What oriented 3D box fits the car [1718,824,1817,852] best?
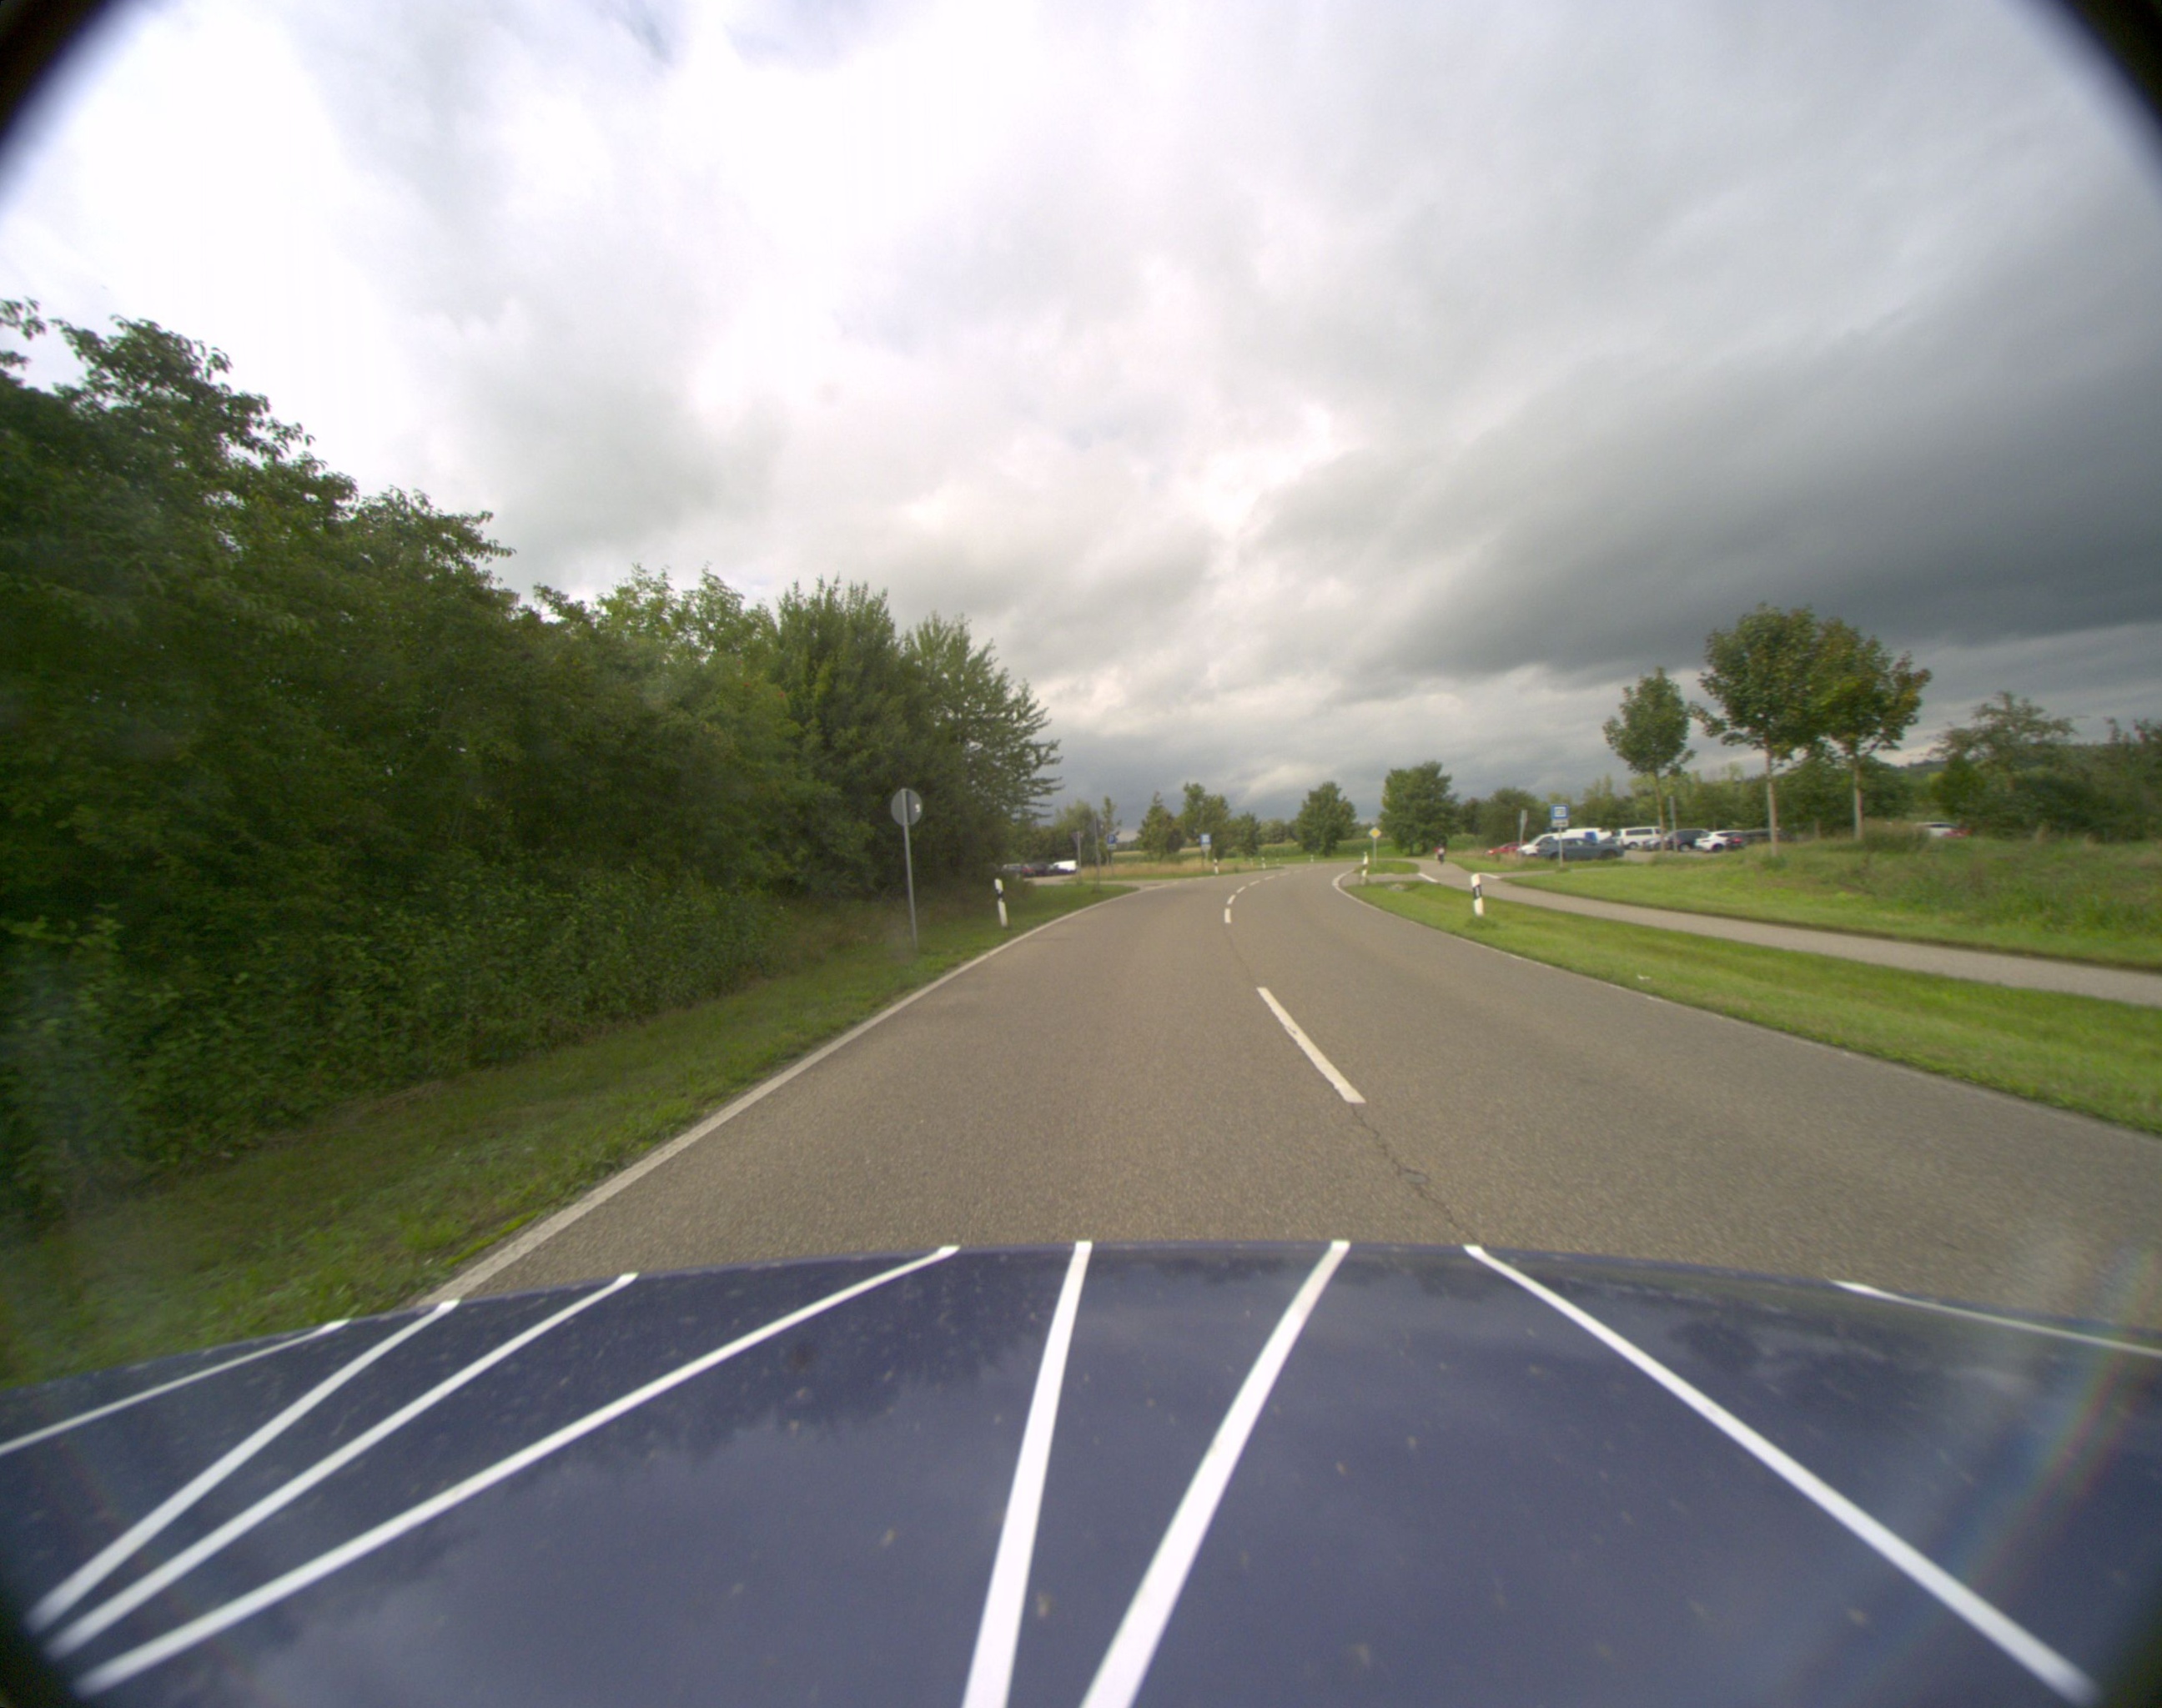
[{"bbox_3d":[41.643,-0.966,46.204,3.993,1.379,1.844,-4,0,16],"label":"car"}]

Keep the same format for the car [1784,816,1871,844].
[{"bbox_3d":[48.615,-1.552,49.526,1.780,1.517,3.785,-3,0,-36],"label":"car"}]

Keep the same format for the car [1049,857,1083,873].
[{"bbox_3d":[-1.965,1.393,99.522,3.994,1.849,2.001,-3,0,10],"label":"car"}]

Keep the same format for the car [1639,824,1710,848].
[{"bbox_3d":[46.996,-1.391,60.278,3.991,1.542,1.969,-5,-1,23],"label":"car"}]

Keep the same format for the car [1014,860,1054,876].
[{"bbox_3d":[-5.248,1.571,85.250,3.995,1.488,2.001,-3,0,8],"label":"car"}]

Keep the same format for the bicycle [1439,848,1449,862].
[{"bbox_3d":[28.490,0.065,59.708,0.636,1.026,2.194,-2,0,25],"label":"bicycle"}]

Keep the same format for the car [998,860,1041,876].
[{"bbox_3d":[-6.387,1.484,79.491,4.004,1.496,2.053,-3,0,12],"label":"car"}]

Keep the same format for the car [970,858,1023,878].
[{"bbox_3d":[-7.794,1.289,70.097,4.487,1.572,2.001,-3,0,6],"label":"car"}]

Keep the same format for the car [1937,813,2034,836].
[{"bbox_3d":[63.219,-2.055,53.208,3.990,1.379,1.741,-2,0,25],"label":"car"}]

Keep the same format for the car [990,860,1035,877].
[{"bbox_3d":[-6.847,1.439,75.996,4.161,1.406,2.001,-3,0,6],"label":"car"}]

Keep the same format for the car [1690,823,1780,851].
[{"bbox_3d":[43.579,-1.116,50.718,3.993,1.543,1.968,-4,0,16],"label":"car"}]

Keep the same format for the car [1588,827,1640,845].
[{"bbox_3d":[55.165,-1.841,78.738,3.991,1.515,1.796,-3,0,21],"label":"car"}]

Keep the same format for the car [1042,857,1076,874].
[{"bbox_3d":[-2.735,1.449,96.365,3.994,1.849,1.746,-3,0,10],"label":"car"}]

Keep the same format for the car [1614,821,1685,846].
[{"bbox_3d":[51.512,-1.833,68.970,4.687,1.914,2.064,-5,-1,21],"label":"car"}]

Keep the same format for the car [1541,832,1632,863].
[{"bbox_3d":[30.353,-0.371,45.785,4.252,1.585,2.003,-3,0,23],"label":"car"}]

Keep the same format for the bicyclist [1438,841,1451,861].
[{"bbox_3d":[28.518,-0.233,59.654,0.831,1.556,1.057,-3,0,27],"label":"bicyclist"}]

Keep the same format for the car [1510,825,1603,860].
[{"bbox_3d":[31.563,-0.732,50.663,4.899,2.002,2.059,-3,0,22],"label":"car"}]

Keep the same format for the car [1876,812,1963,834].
[{"bbox_3d":[64.145,-2.330,58.183,3.990,1.366,1.969,-3,0,27],"label":"car"}]

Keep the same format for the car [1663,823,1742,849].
[{"bbox_3d":[45.285,-1.292,55.491,3.991,1.543,1.969,-4,0,23],"label":"car"}]

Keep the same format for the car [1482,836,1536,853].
[{"bbox_3d":[41.379,-0.884,73.560,4.368,1.408,1.816,-3,0,23],"label":"car"}]

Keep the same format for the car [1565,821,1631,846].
[{"bbox_3d":[63.106,-2.512,92.920,6.321,2.604,2.204,-3,0,23],"label":"car"}]
